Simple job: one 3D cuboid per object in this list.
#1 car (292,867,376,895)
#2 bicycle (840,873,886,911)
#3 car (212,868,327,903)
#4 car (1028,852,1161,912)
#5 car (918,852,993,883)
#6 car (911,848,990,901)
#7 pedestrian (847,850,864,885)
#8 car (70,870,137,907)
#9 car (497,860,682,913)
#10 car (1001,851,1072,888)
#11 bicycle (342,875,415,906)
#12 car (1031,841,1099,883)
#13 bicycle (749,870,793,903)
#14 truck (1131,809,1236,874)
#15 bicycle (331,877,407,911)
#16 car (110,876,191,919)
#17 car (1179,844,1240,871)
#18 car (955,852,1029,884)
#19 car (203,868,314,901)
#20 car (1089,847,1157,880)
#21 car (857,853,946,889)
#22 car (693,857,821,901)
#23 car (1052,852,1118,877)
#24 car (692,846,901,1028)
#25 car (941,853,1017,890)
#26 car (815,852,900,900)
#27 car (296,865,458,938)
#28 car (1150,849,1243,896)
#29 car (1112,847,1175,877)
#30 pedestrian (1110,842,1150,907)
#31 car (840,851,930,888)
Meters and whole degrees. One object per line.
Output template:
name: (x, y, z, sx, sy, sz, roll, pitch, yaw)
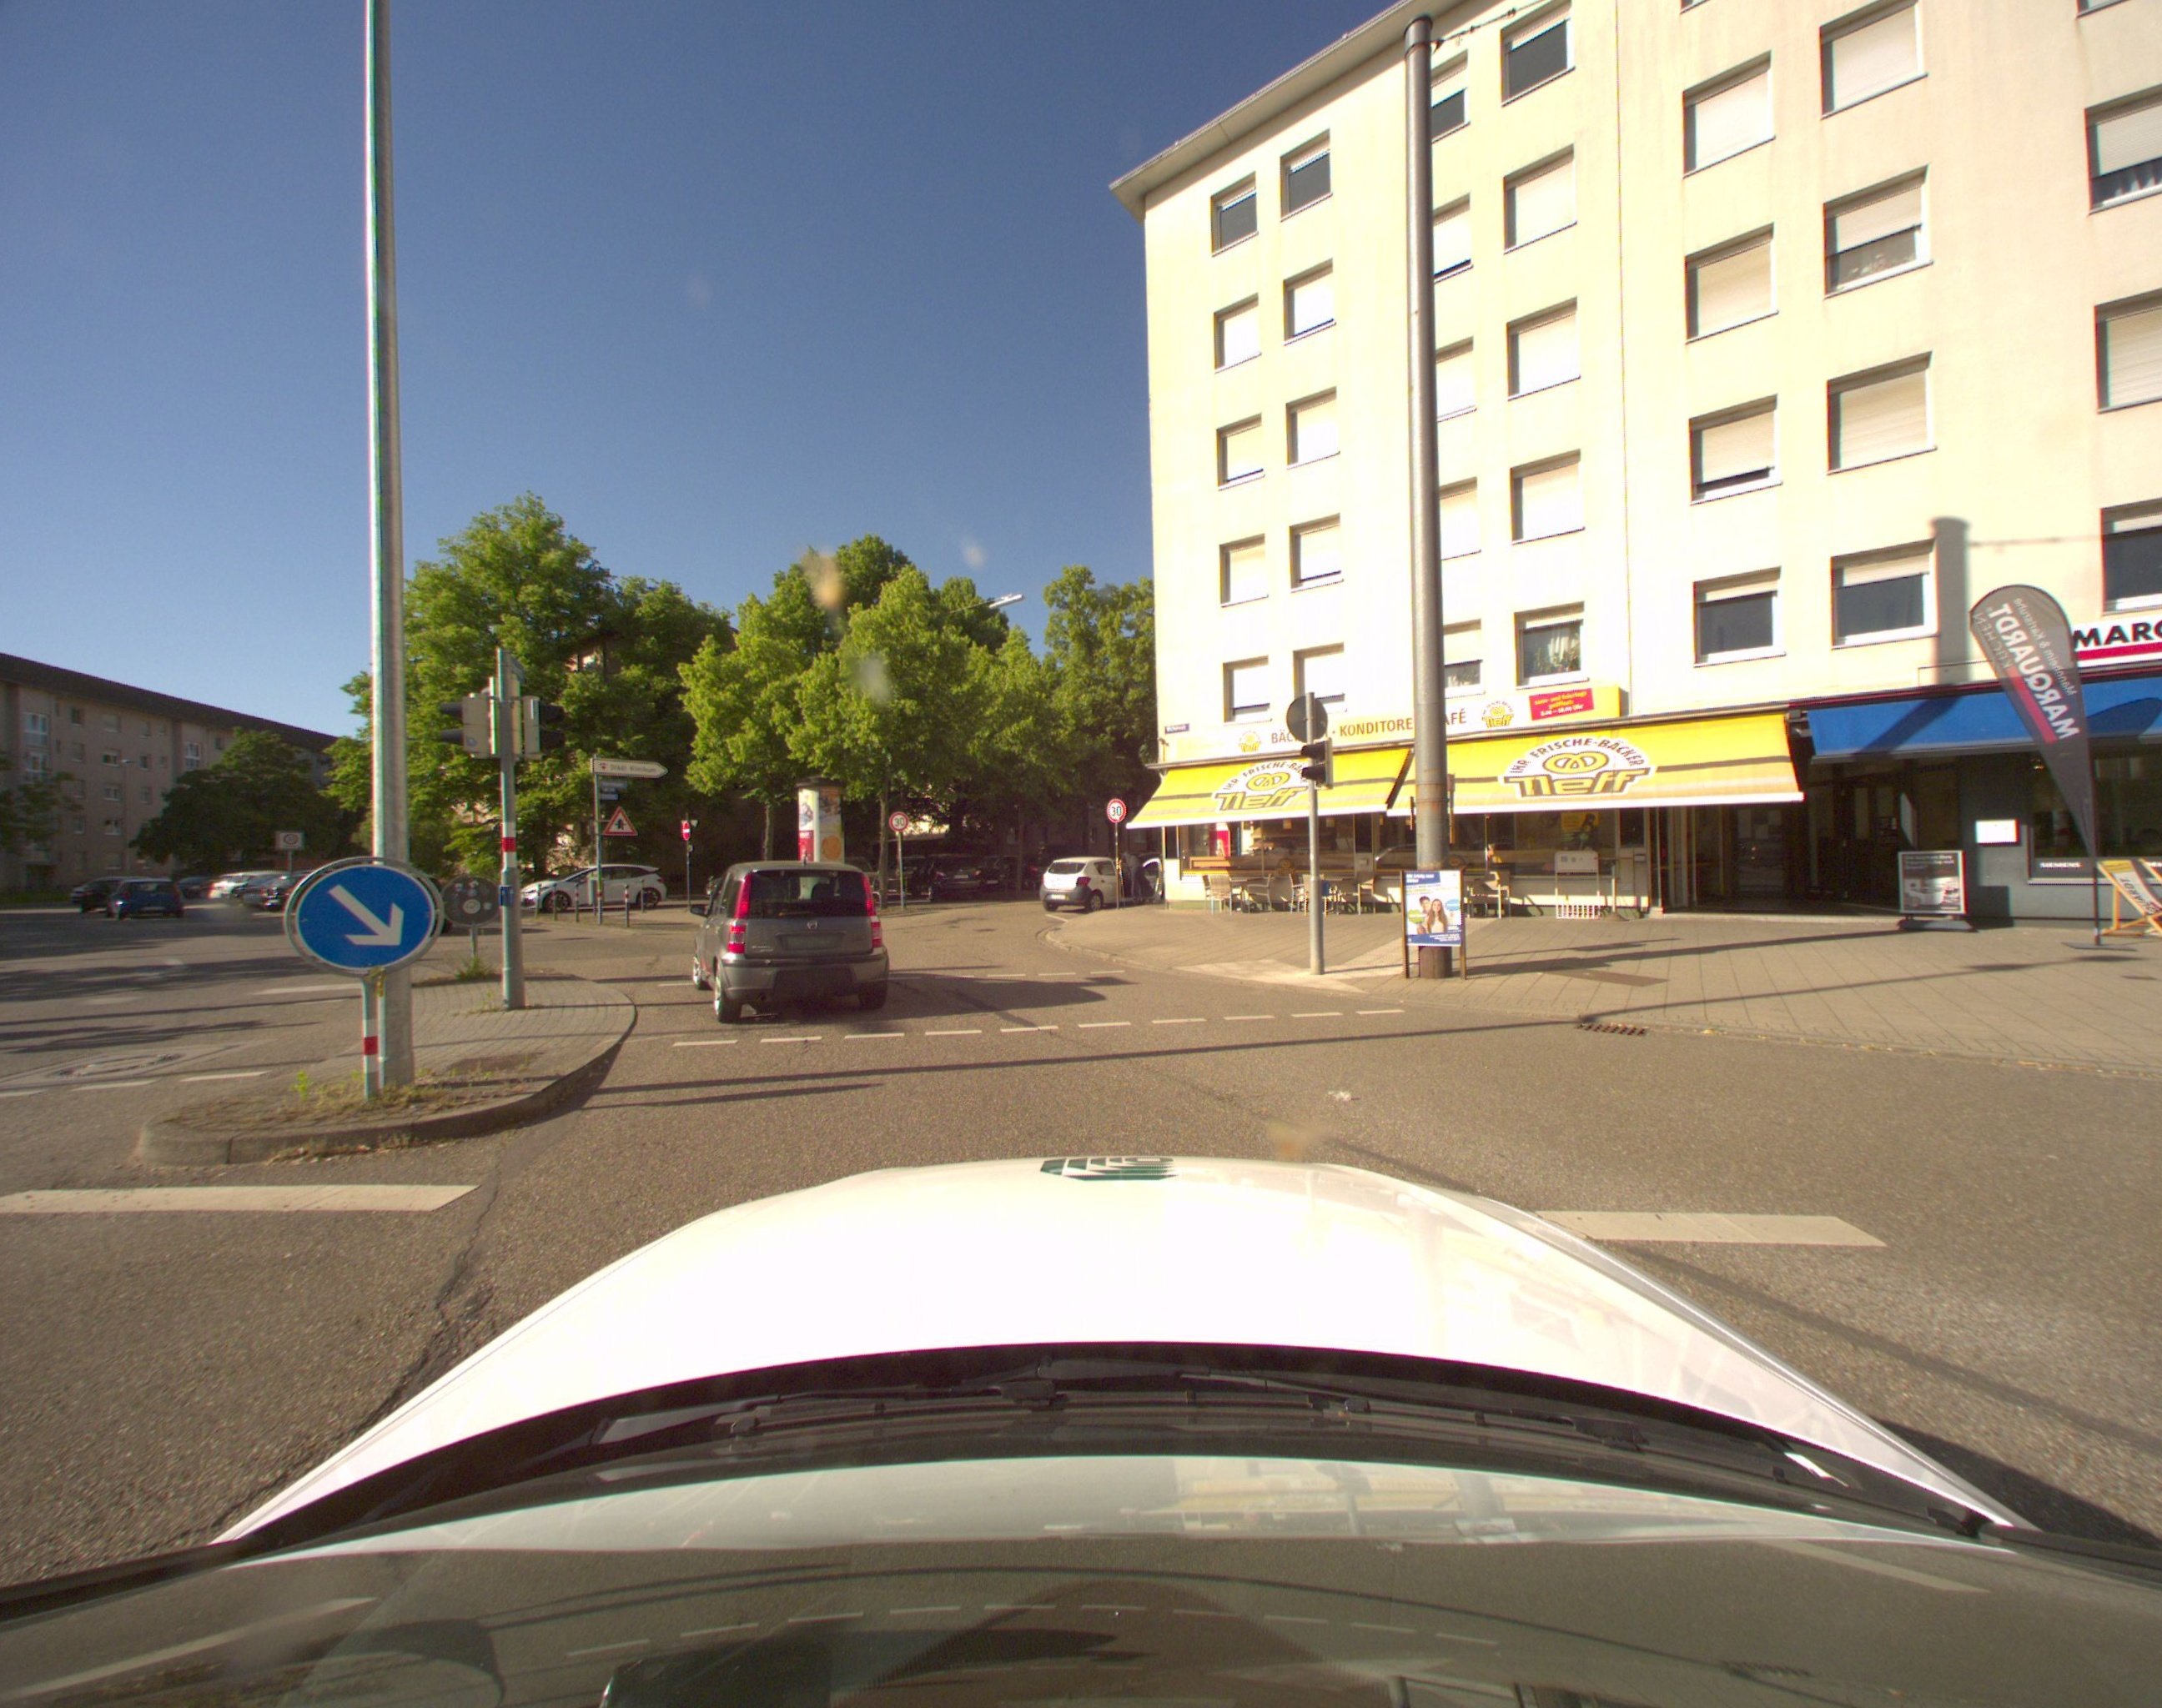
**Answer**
car: (-45.125, 1.597, 49.224, 1.601, 1.481, 3.615, -1, 0, 42)
bicycle: (-6.677, 1.144, 25.010, 0.349, 1.072, 1.602, -1, 0, 26)
car: (-39.258, 1.487, 39.509, 1.605, 1.481, 3.605, -2, 0, 12)
car: (0.465, 0.753, 23.419, 1.702, 1.497, 4.049, -1, 0, 38)
car: (-6.870, 0.737, 44.852, 1.737, 1.569, 3.974, -1, 0, 37)
car: (-4.818, 0.669, 29.548, 1.839, 1.671, 4.304, -1, 2, -23)
pedestrian: (-11.394, 0.659, 41.201, 0.742, 1.735, 0.536, -1, 0, -20)
car: (-43.392, 1.503, 36.216, 3.550, 1.508, 1.694, -1, 0, 43)
car: (-16.618, 1.048, 27.771, 1.899, 1.518, 5.068, -1, 0, 43)
car: (-1.982, 0.629, 35.052, 1.764, 1.481, 3.793, -1, 0, -24)
bicycle: (-26.564, 1.358, 30.830, 0.442, 1.031, 2.047, -2, 0, 28)
car: (-0.845, 0.349, 38.989, 1.935, 1.873, 4.474, -1, 0, -19)
bicycle: (-10.868, 1.141, 28.574, 0.349, 1.072, 1.602, -1, 0, 26)
truck: (5.545, -0.622, 45.518, 2.549, 3.293, 7.272, -2, 0, -22)
bicycle: (-27.174, 1.513, 31.121, 0.659, 1.177, 2.047, -2, 0, 28)
car: (-35.505, 1.620, 31.054, 3.549, 1.508, 1.695, -1, 0, 36)
car: (7.613, 0.198, 48.686, 1.849, 1.502, 3.971, -1, 0, -21)
car: (-4.547, 0.687, 42.107, 1.737, 1.486, 3.974, -1, 0, 30)
car: (-41.539, 1.502, 41.251, 1.605, 1.481, 3.605, -2, 0, 12)
car: (2.002, 0.441, 40.097, 1.813, 1.507, 4.315, -1, 0, -19)
car: (-8.160, 0.752, 37.343, 1.737, 1.486, 3.974, -1, 0, 30)
car: (-12.794, 0.948, 32.374, 1.884, 1.518, 4.328, -1, 0, 37)
car: (0.280, 0.603, 48.465, 1.746, 1.294, 4.442, -3, -1, 34)
car: (-3.256, 0.734, 8.943, 1.626, 1.561, 3.227, -2, 0, -29)
car: (-4.319, 0.691, 34.142, 1.826, 1.422, 3.912, -1, 0, -29)
car: (-8.301, 0.781, 30.010, 1.929, 1.610, 3.959, -2, 0, -32)
car: (-16.453, 1.053, 19.008, 3.710, 1.508, 1.694, -1, 0, 30)
car: (4.081, 0.600, 28.367, 1.581, 1.463, 3.696, -1, 0, 37)
car: (3.303, 0.395, 44.062, 1.813, 1.507, 4.315, -1, 0, -19)
pedestrian: (1.351, 0.557, 22.341, 0.752, 1.722, 0.750, -1, 0, 43)
car: (-9.711, 0.734, 40.646, 1.737, 1.640, 4.274, -1, 0, 35)
